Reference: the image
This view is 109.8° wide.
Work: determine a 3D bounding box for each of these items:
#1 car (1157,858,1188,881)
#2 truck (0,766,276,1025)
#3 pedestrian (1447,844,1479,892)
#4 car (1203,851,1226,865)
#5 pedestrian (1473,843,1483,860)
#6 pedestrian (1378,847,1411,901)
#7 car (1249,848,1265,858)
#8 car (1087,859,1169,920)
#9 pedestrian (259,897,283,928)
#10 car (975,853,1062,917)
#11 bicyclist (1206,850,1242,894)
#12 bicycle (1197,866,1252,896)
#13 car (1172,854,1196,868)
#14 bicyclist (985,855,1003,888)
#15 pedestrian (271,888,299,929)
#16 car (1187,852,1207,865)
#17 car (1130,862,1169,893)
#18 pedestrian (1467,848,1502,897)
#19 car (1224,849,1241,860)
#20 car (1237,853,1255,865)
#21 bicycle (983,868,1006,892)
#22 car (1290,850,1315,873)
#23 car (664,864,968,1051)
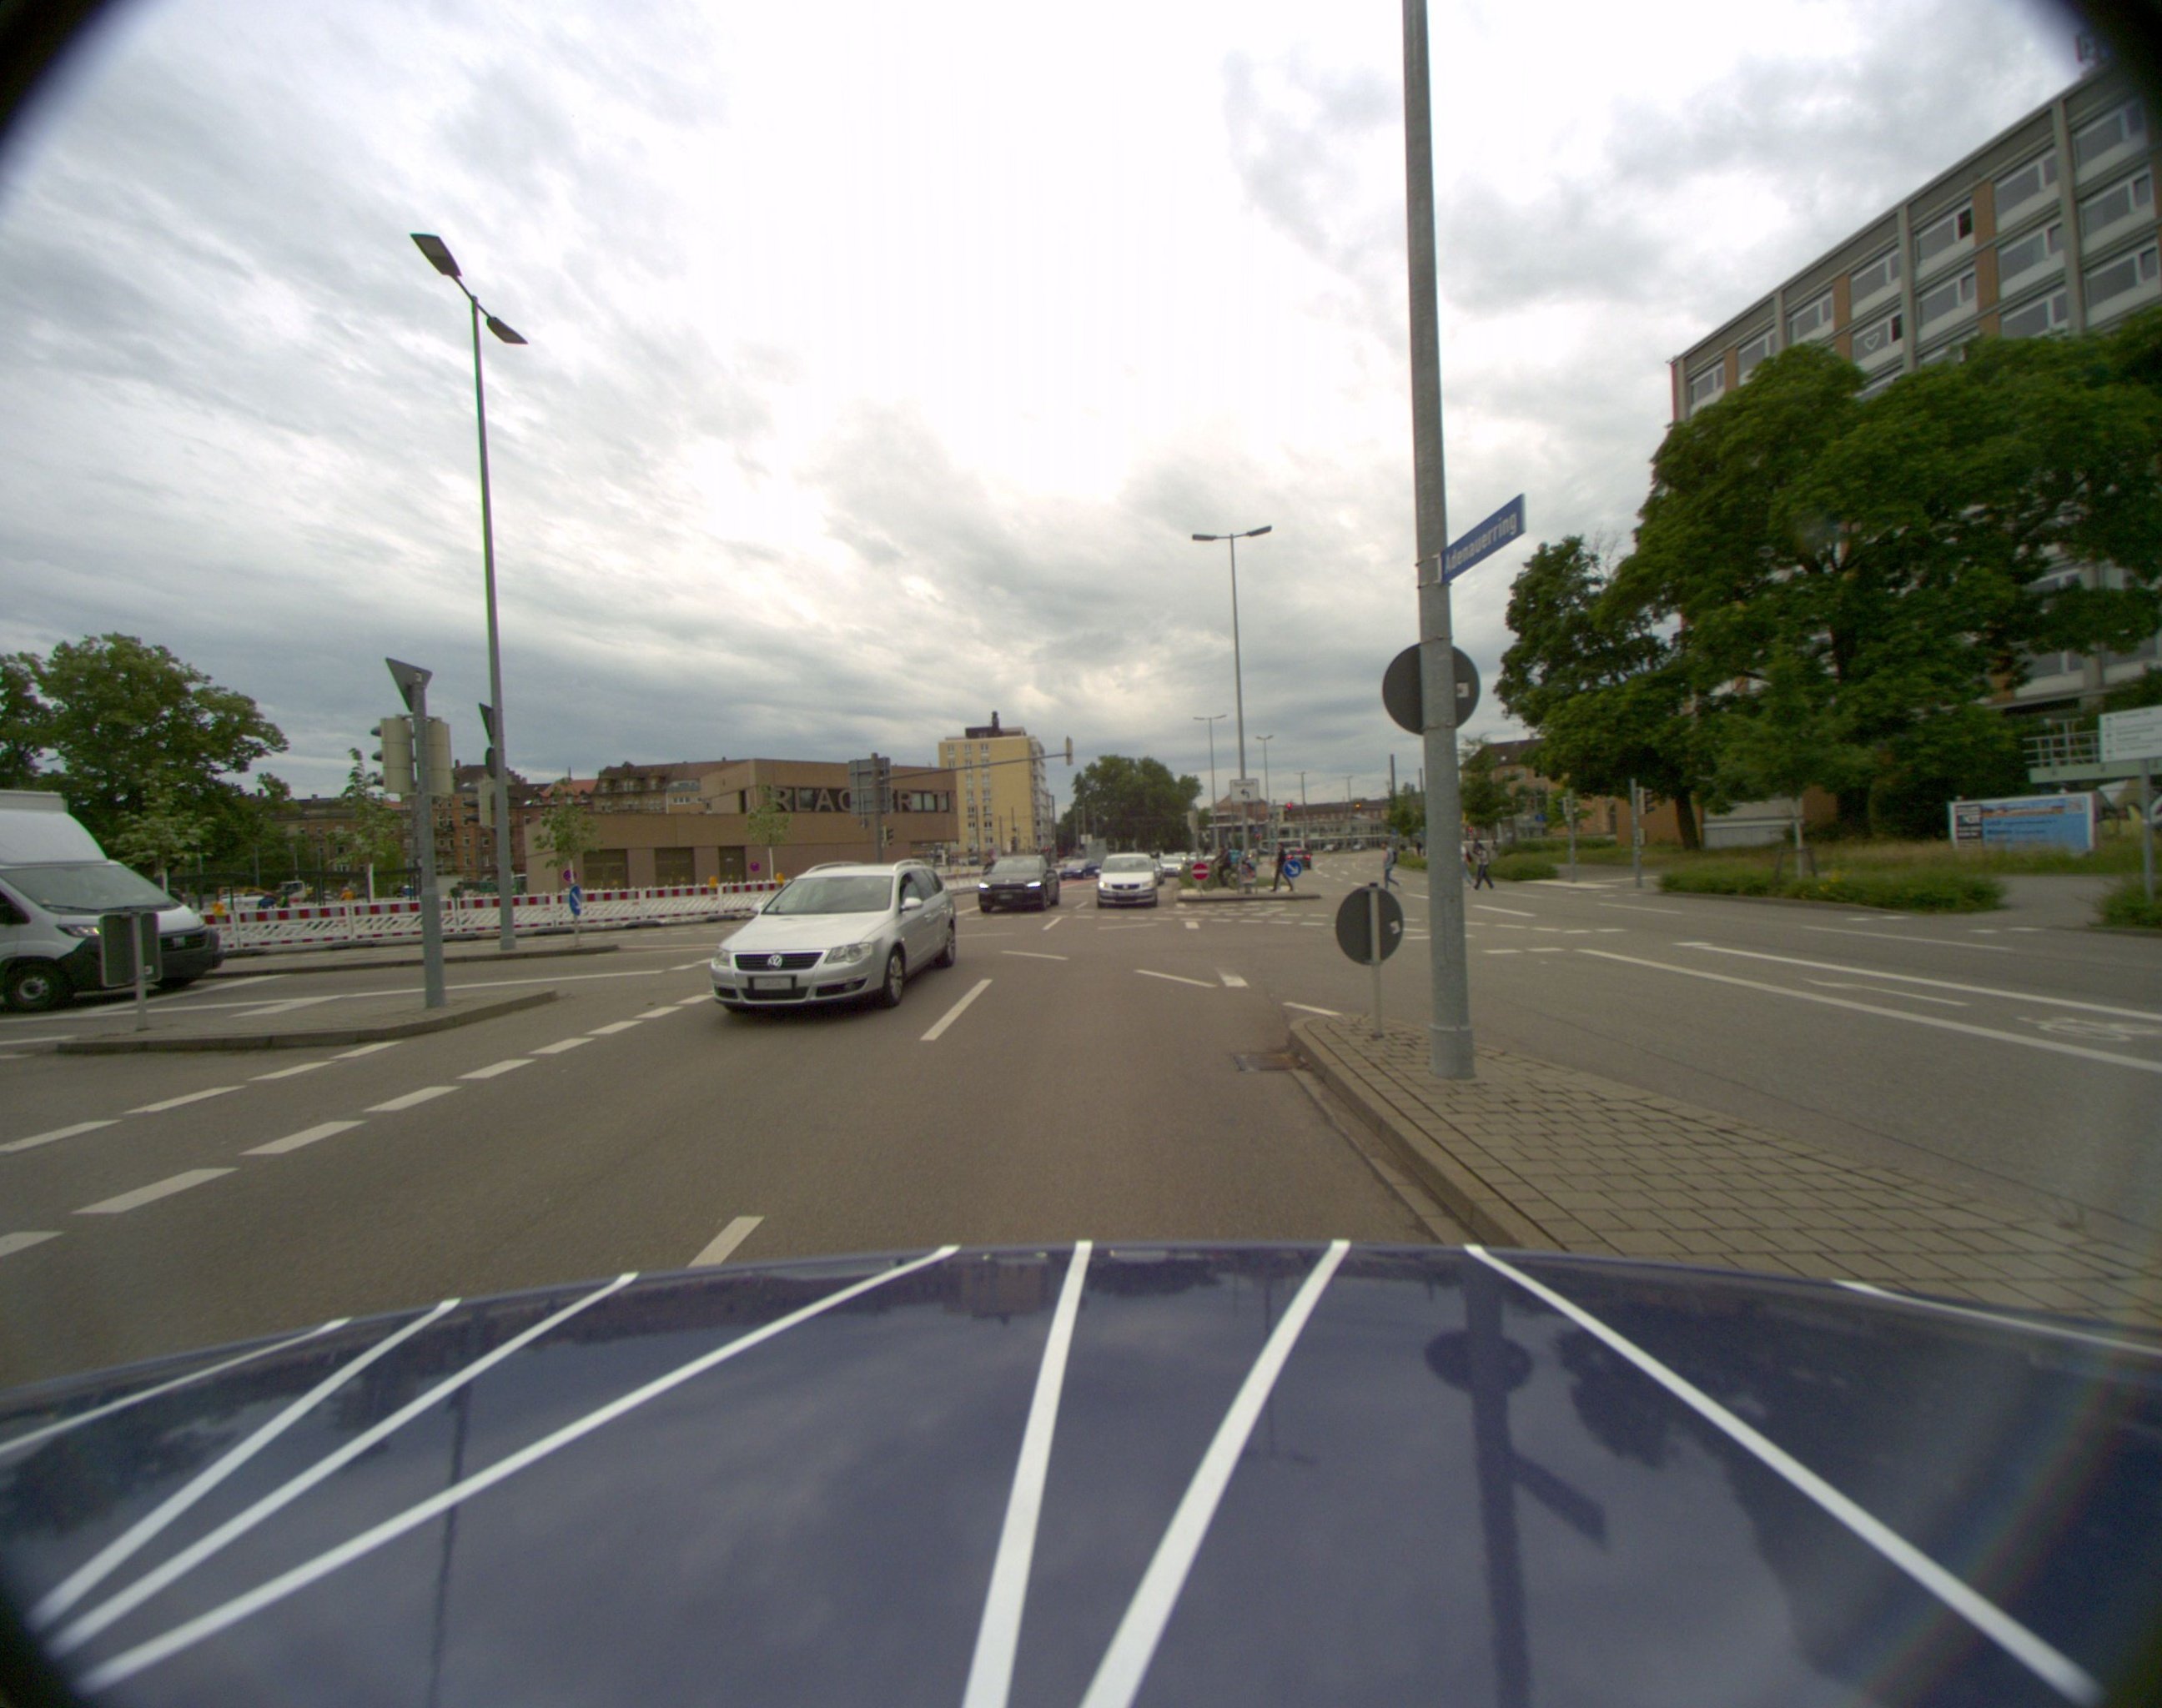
[{"bbox_3d":[6.766,1.089,55.726,1.784,1.454,3.874,-4,0,12],"label":"car"},{"bbox_3d":[-16.909,0.703,10.953,6.855,3.392,2.558,-4,2,-10],"label":"truck"},{"bbox_3d":[14.489,0.529,28.824,0.769,1.794,0.739,-1,0,-27],"label":"pedestrian"},{"bbox_3d":[17.988,0.574,102.383,1.995,1.805,4.007,-2,0,27],"label":"car"},{"bbox_3d":[38.685,-0.239,74.039,0.653,1.611,0.471,-2,0,3],"label":"pedestrian"},{"bbox_3d":[10.771,0.685,26.099,0.918,1.794,0.541,-2,0,11],"label":"pedestrian"},{"bbox_3d":[28.260,-0.170,121.717,1.606,1.586,3.766,-2,0,26],"label":"car"},{"bbox_3d":[1.354,1.007,23.474,1.734,1.593,4.103,-4,0,-6],"label":"car"},{"bbox_3d":[-33.269,2.395,31.211,0.478,1.216,0.585,-2,0,32],"label":"pedestrian"},{"bbox_3d":[-1.745,0.843,22.781,1.911,1.615,4.491,-2,0,4],"label":"car"},{"bbox_3d":[5.729,0.723,30.481,1.192,1.725,0.806,-2,0,-4],"label":"bicyclist"},{"bbox_3d":[5.748,1.069,30.484,2.006,1.136,0.806,-2,0,-4],"label":"bicycle"},{"bbox_3d":[11.949,0.781,87.744,1.816,1.466,4.039,-2,0,21],"label":"car"},{"bbox_3d":[-4.310,0.875,37.767,0.694,1.626,0.885,-2,0,6],"label":"bicyclist"},{"bbox_3d":[-33.418,2.290,31.900,0.498,1.653,0.624,-2,0,11],"label":"pedestrian"},{"bbox_3d":[14.618,0.603,95.680,1.802,1.586,3.764,-2,0,19],"label":"car"},{"bbox_3d":[3.767,1.216,41.056,1.725,1.406,4.248,-4,0,9],"label":"car"},{"bbox_3d":[14.105,0.634,26.596,0.778,1.657,0.706,-1,0,-13],"label":"pedestrian"},{"bbox_3d":[22.652,0.032,113.689,1.606,1.586,3.766,-2,0,26],"label":"car"},{"bbox_3d":[22.786,0.716,104.826,1.606,1.586,3.766,-2,0,26],"label":"car"},{"bbox_3d":[-4.294,1.300,37.829,0.694,1.123,1.869,-2,0,6],"label":"bicycle"},{"bbox_3d":[17.275,0.556,59.177,1.813,1.657,3.953,-2,1,17],"label":"car"},{"bbox_3d":[-2.740,0.972,9.140,1.829,1.541,4.528,-3,0,2],"label":"car"}]
